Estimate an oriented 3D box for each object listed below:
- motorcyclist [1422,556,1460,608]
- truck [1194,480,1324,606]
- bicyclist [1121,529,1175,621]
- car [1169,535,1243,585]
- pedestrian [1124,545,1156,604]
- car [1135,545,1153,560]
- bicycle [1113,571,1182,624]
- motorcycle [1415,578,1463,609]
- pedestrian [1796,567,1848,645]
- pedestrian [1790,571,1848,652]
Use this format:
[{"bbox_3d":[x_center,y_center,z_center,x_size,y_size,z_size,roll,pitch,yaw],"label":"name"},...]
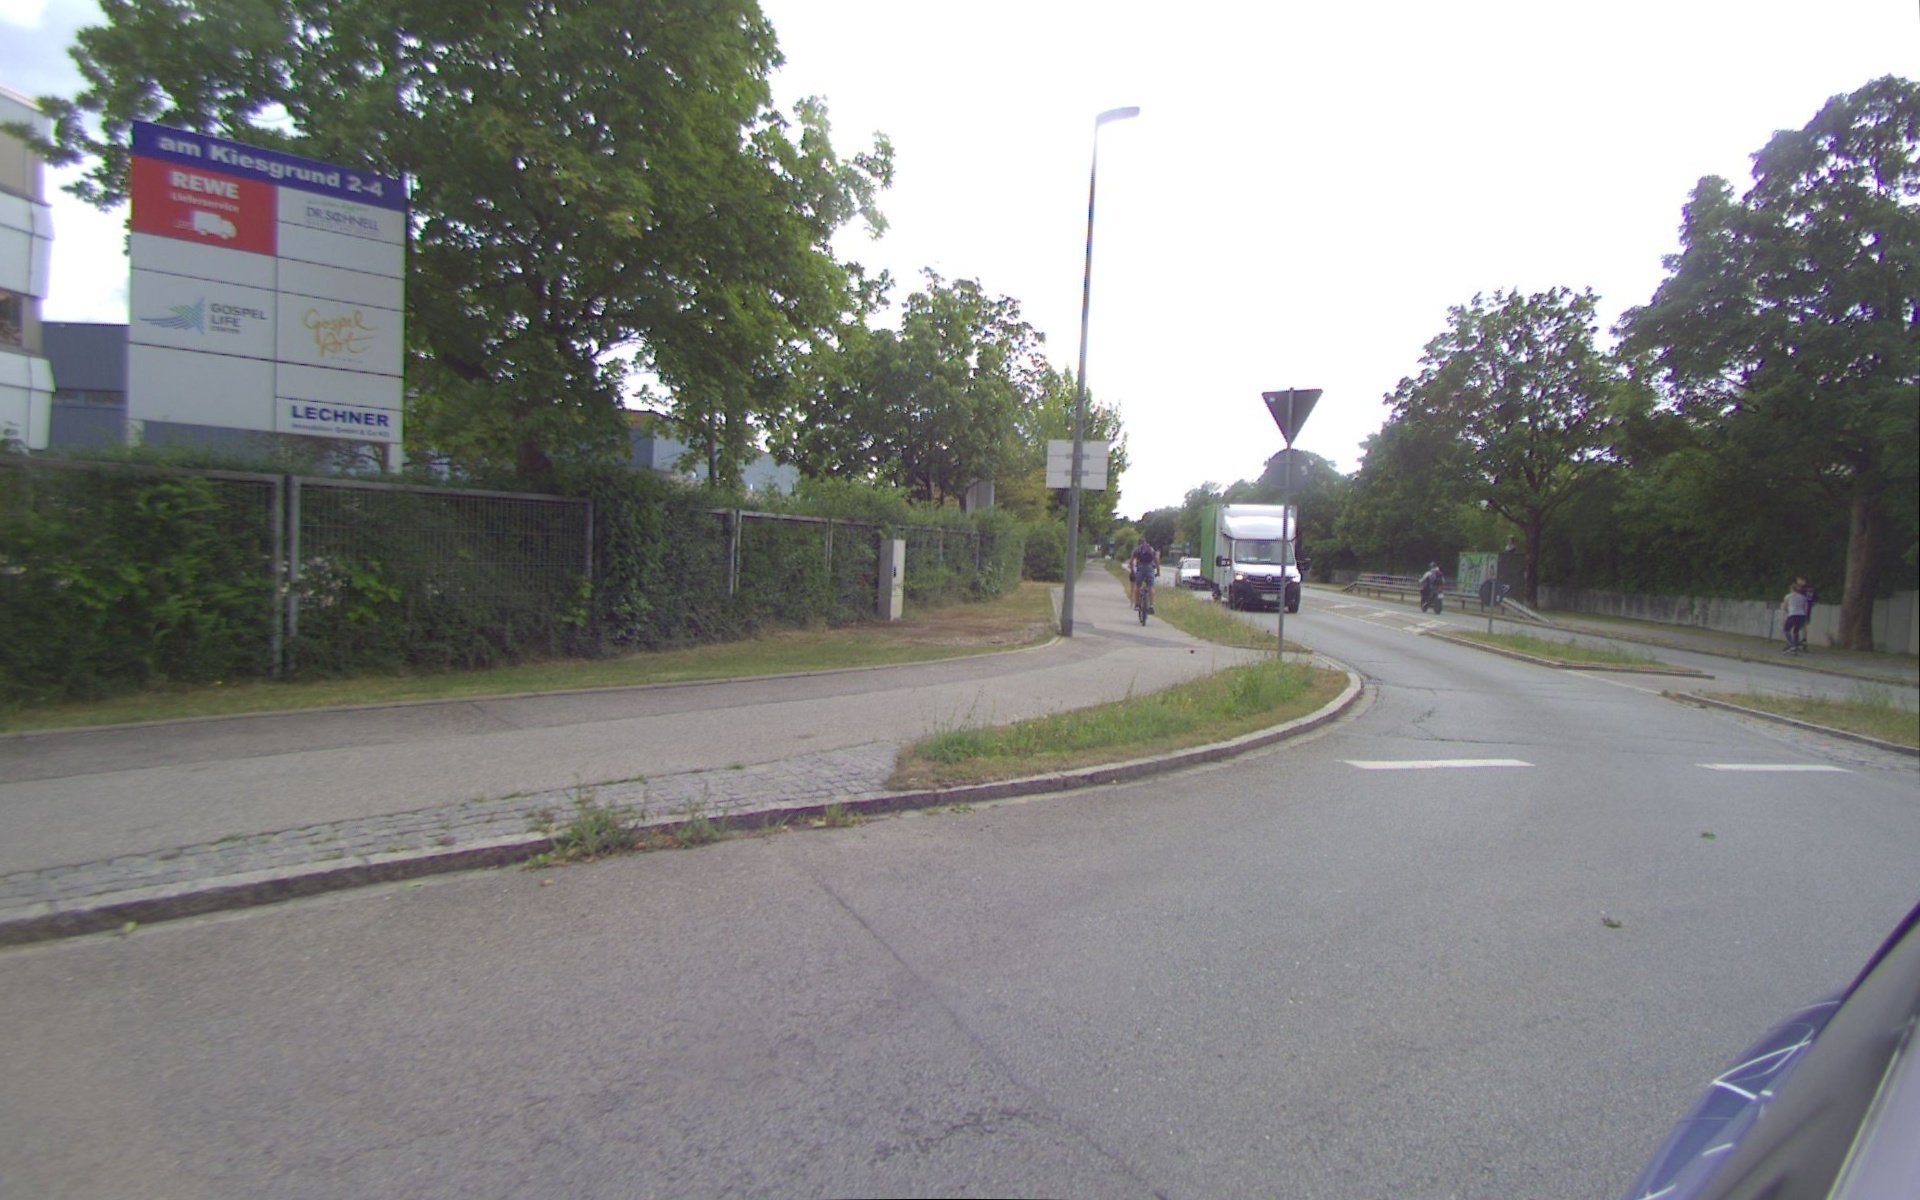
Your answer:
[{"bbox_3d":[16.520,-0.637,34.774,0.830,1.721,0.822,3,3,6],"label":"motorcyclist"},{"bbox_3d":[9.309,-1.815,32.378,2.571,3.489,7.498,2,3,6],"label":"truck"},{"bbox_3d":[3.898,-0.534,21.072,0.797,1.809,0.979,5,3,1],"label":"bicyclist"},{"bbox_3d":[11.525,-1.917,47.883,2.571,2.151,5.717,2,3,6],"label":"car"},{"bbox_3d":[4.923,-0.709,27.765,0.534,1.549,0.846,3,2,-9],"label":"pedestrian"},{"bbox_3d":[26.399,-6.838,145.461,2.003,2.151,5.717,2,3,6],"label":"car"},{"bbox_3d":[3.921,-0.080,21.437,0.948,0.886,2.496,5,3,1],"label":"bicycle"},{"bbox_3d":[16.453,-0.237,34.812,0.923,0.942,1.611,3,3,5],"label":"motorcycle"},{"bbox_3d":[20.701,0.137,24.305,0.623,1.831,0.615,2,2,2],"label":"pedestrian"},{"bbox_3d":[19.728,0.249,23.257,0.718,1.802,0.594,2,2,2],"label":"pedestrian"}]
